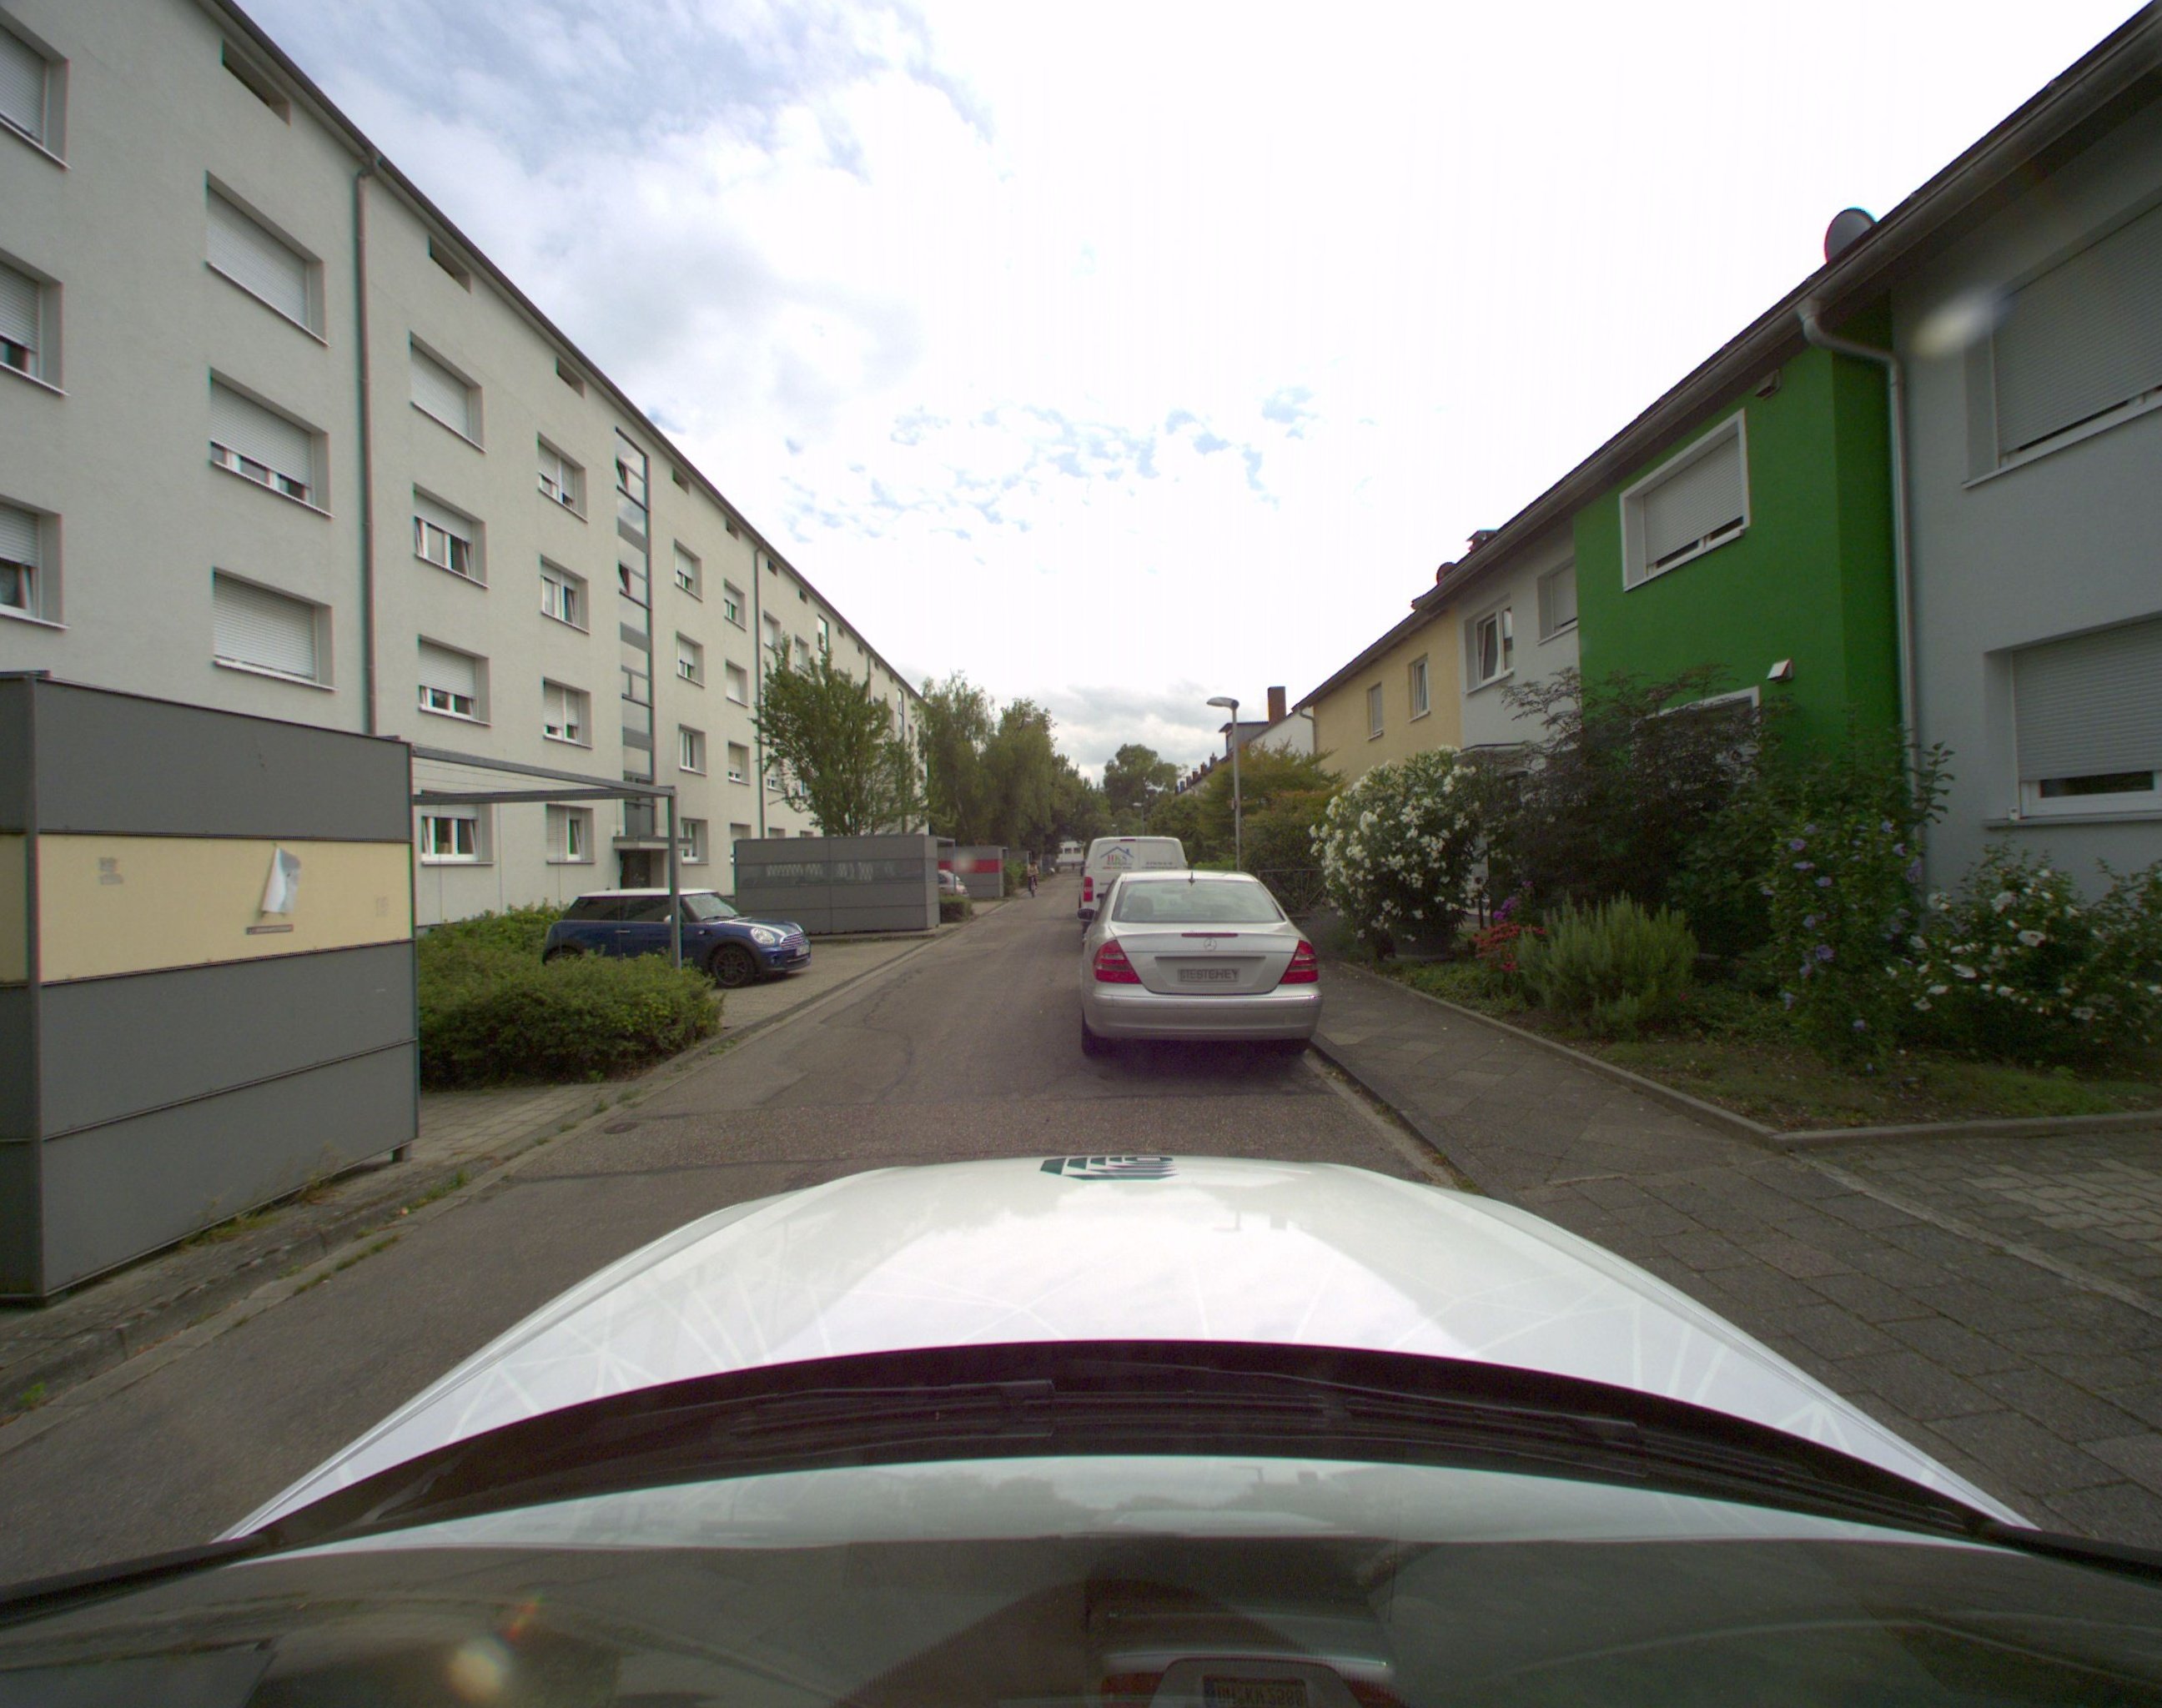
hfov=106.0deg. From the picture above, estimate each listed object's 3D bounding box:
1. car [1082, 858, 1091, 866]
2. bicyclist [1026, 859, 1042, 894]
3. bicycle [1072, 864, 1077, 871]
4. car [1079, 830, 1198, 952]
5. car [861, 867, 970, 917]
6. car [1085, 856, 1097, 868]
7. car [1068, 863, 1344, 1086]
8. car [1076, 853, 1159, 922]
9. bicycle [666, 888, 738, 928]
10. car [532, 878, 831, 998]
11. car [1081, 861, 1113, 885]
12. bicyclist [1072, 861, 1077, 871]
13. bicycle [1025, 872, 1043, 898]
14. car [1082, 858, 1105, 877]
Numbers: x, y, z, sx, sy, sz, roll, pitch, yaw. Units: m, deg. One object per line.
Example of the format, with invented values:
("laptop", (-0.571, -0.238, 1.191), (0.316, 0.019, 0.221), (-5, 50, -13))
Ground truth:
("car", (1.193, 1.678, 165.507), (1.819, 1.581, 4.000), (0, 0, 1))
("bicyclist", (-2.176, 1.038, 37.659), (0.595, 1.581, 0.767), (-3, -1, 1))
("bicycle", (-1.084, 2.282, 133.870), (0.686, 1.131, 2.580), (0, -1, 2))
("car", (0.935, 0.629, 15.906), (1.898, 1.964, 5.252), (-1, -1, 0))
("car", (-5.843, 1.332, 29.117), (3.555, 1.480, 1.708), (-3, 0, -5))
("car", (1.516, 1.238, 124.582), (1.819, 1.883, 4.000), (0, 0, 1))
("car", (0.889, 0.812, 7.552), (1.777, 1.421, 4.457), (-1, -1, 2))
("car", (0.876, 0.818, 21.591), (1.820, 1.636, 4.158), (-1, -1, -3))
("bicycle", (-10.989, 1.555, 23.665), (1.820, 1.024, 0.473), (-2, -1, -41))
("car", (-5.886, 1.211, 12.267), (3.619, 1.461, 1.654), (-3, -1, 3))
("car", (0.957, 1.131, 49.167), (1.819, 1.370, 4.331), (0, 0, 1))
("bicyclist", (-1.094, 1.983, 133.848), (0.795, 1.511, 0.934), (0, -1, 2))
("bicycle", (-2.156, 1.422, 37.625), (0.595, 1.076, 2.043), (-3, -1, 2))
("car", (1.028, 1.112, 68.040), (1.820, 1.581, 3.998), (0, 0, -1))
